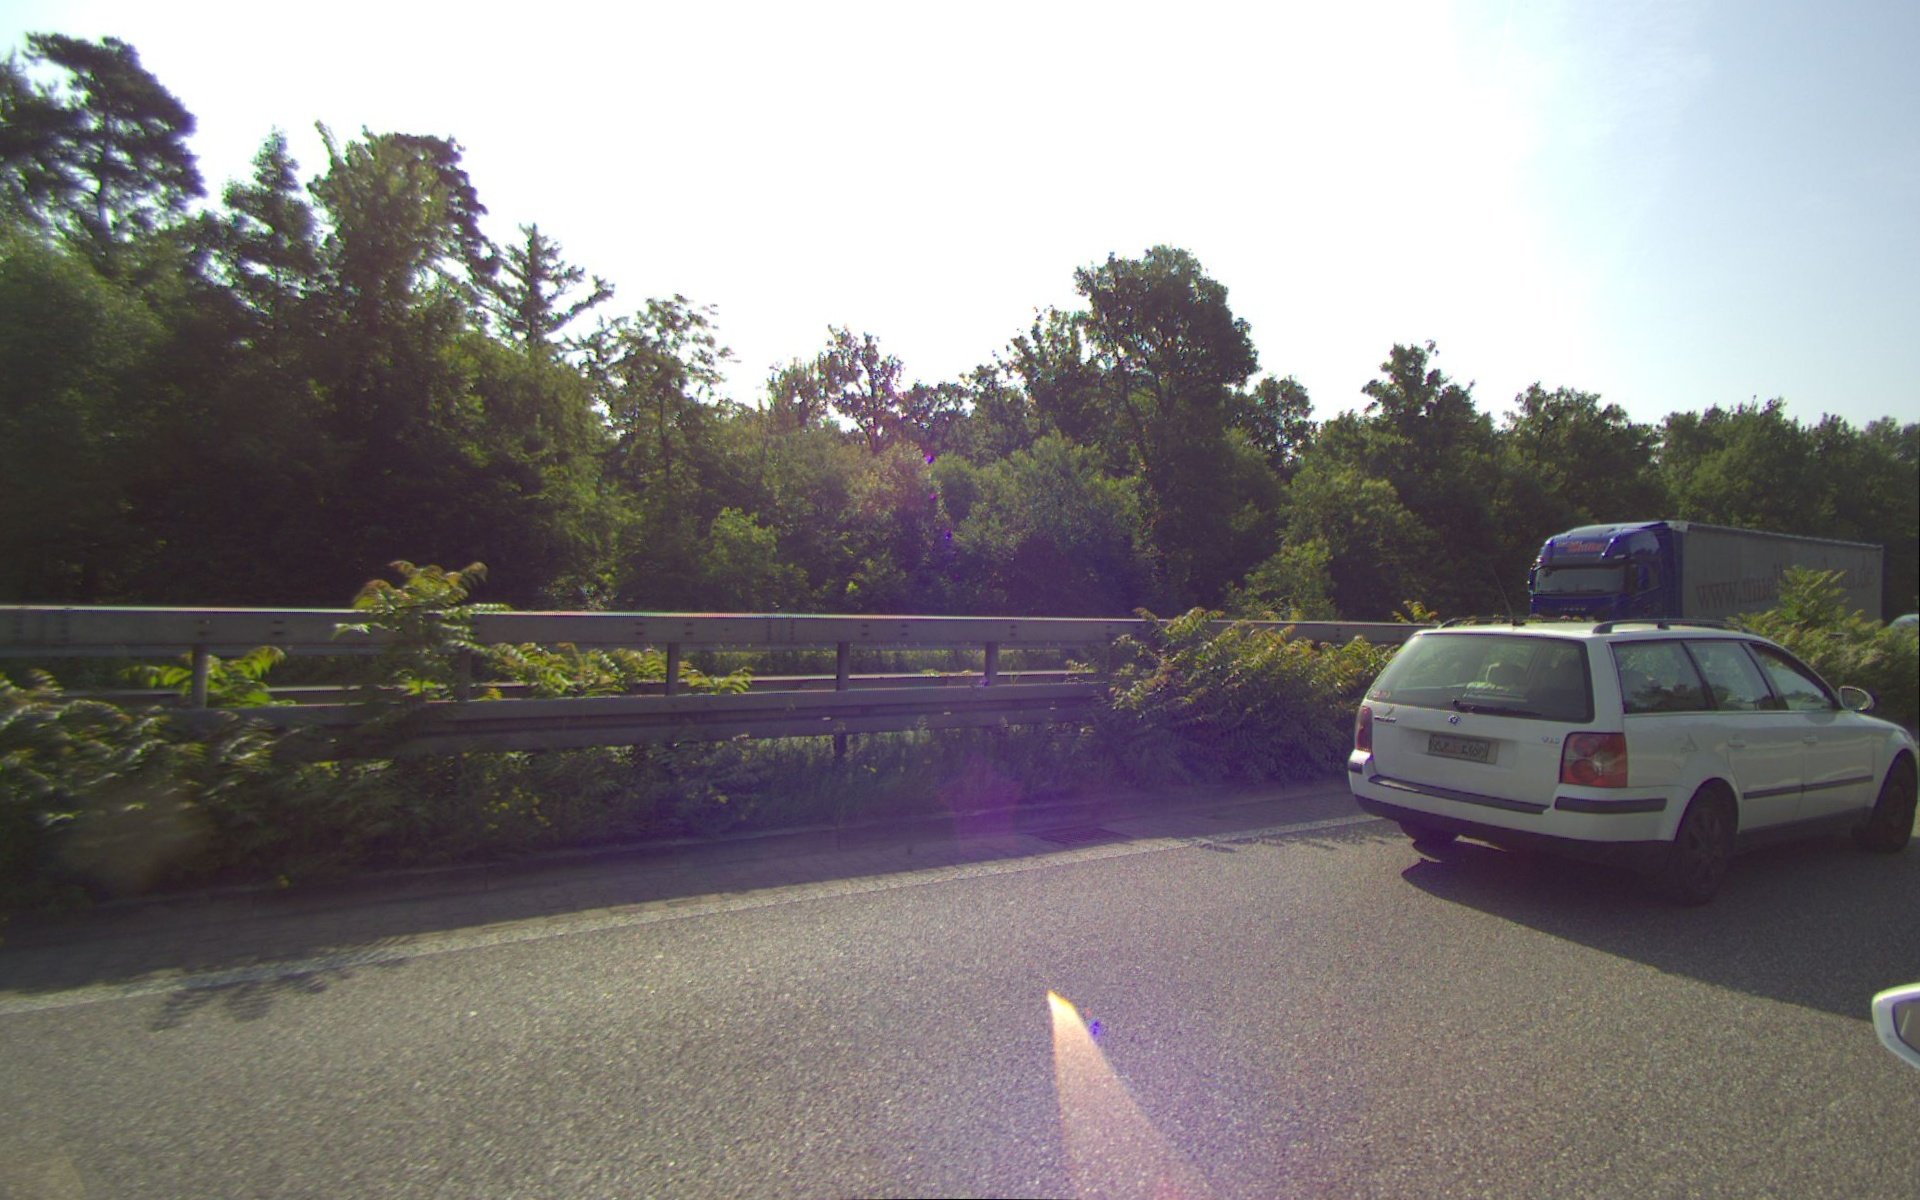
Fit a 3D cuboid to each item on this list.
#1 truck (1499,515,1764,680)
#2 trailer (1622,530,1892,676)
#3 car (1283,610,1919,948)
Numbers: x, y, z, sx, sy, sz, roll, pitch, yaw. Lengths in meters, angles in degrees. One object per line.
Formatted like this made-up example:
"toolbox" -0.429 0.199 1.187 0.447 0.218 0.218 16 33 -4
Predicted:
"truck" 18.812 0.020 27.954 8.317 4.052 2.771 1 0 -30
"trailer" 25.557 0.179 31.932 11.300 4.052 2.818 1 0 -31
"car" 4.626 0.876 6.638 5.202 1.505 1.741 1 0 -31
